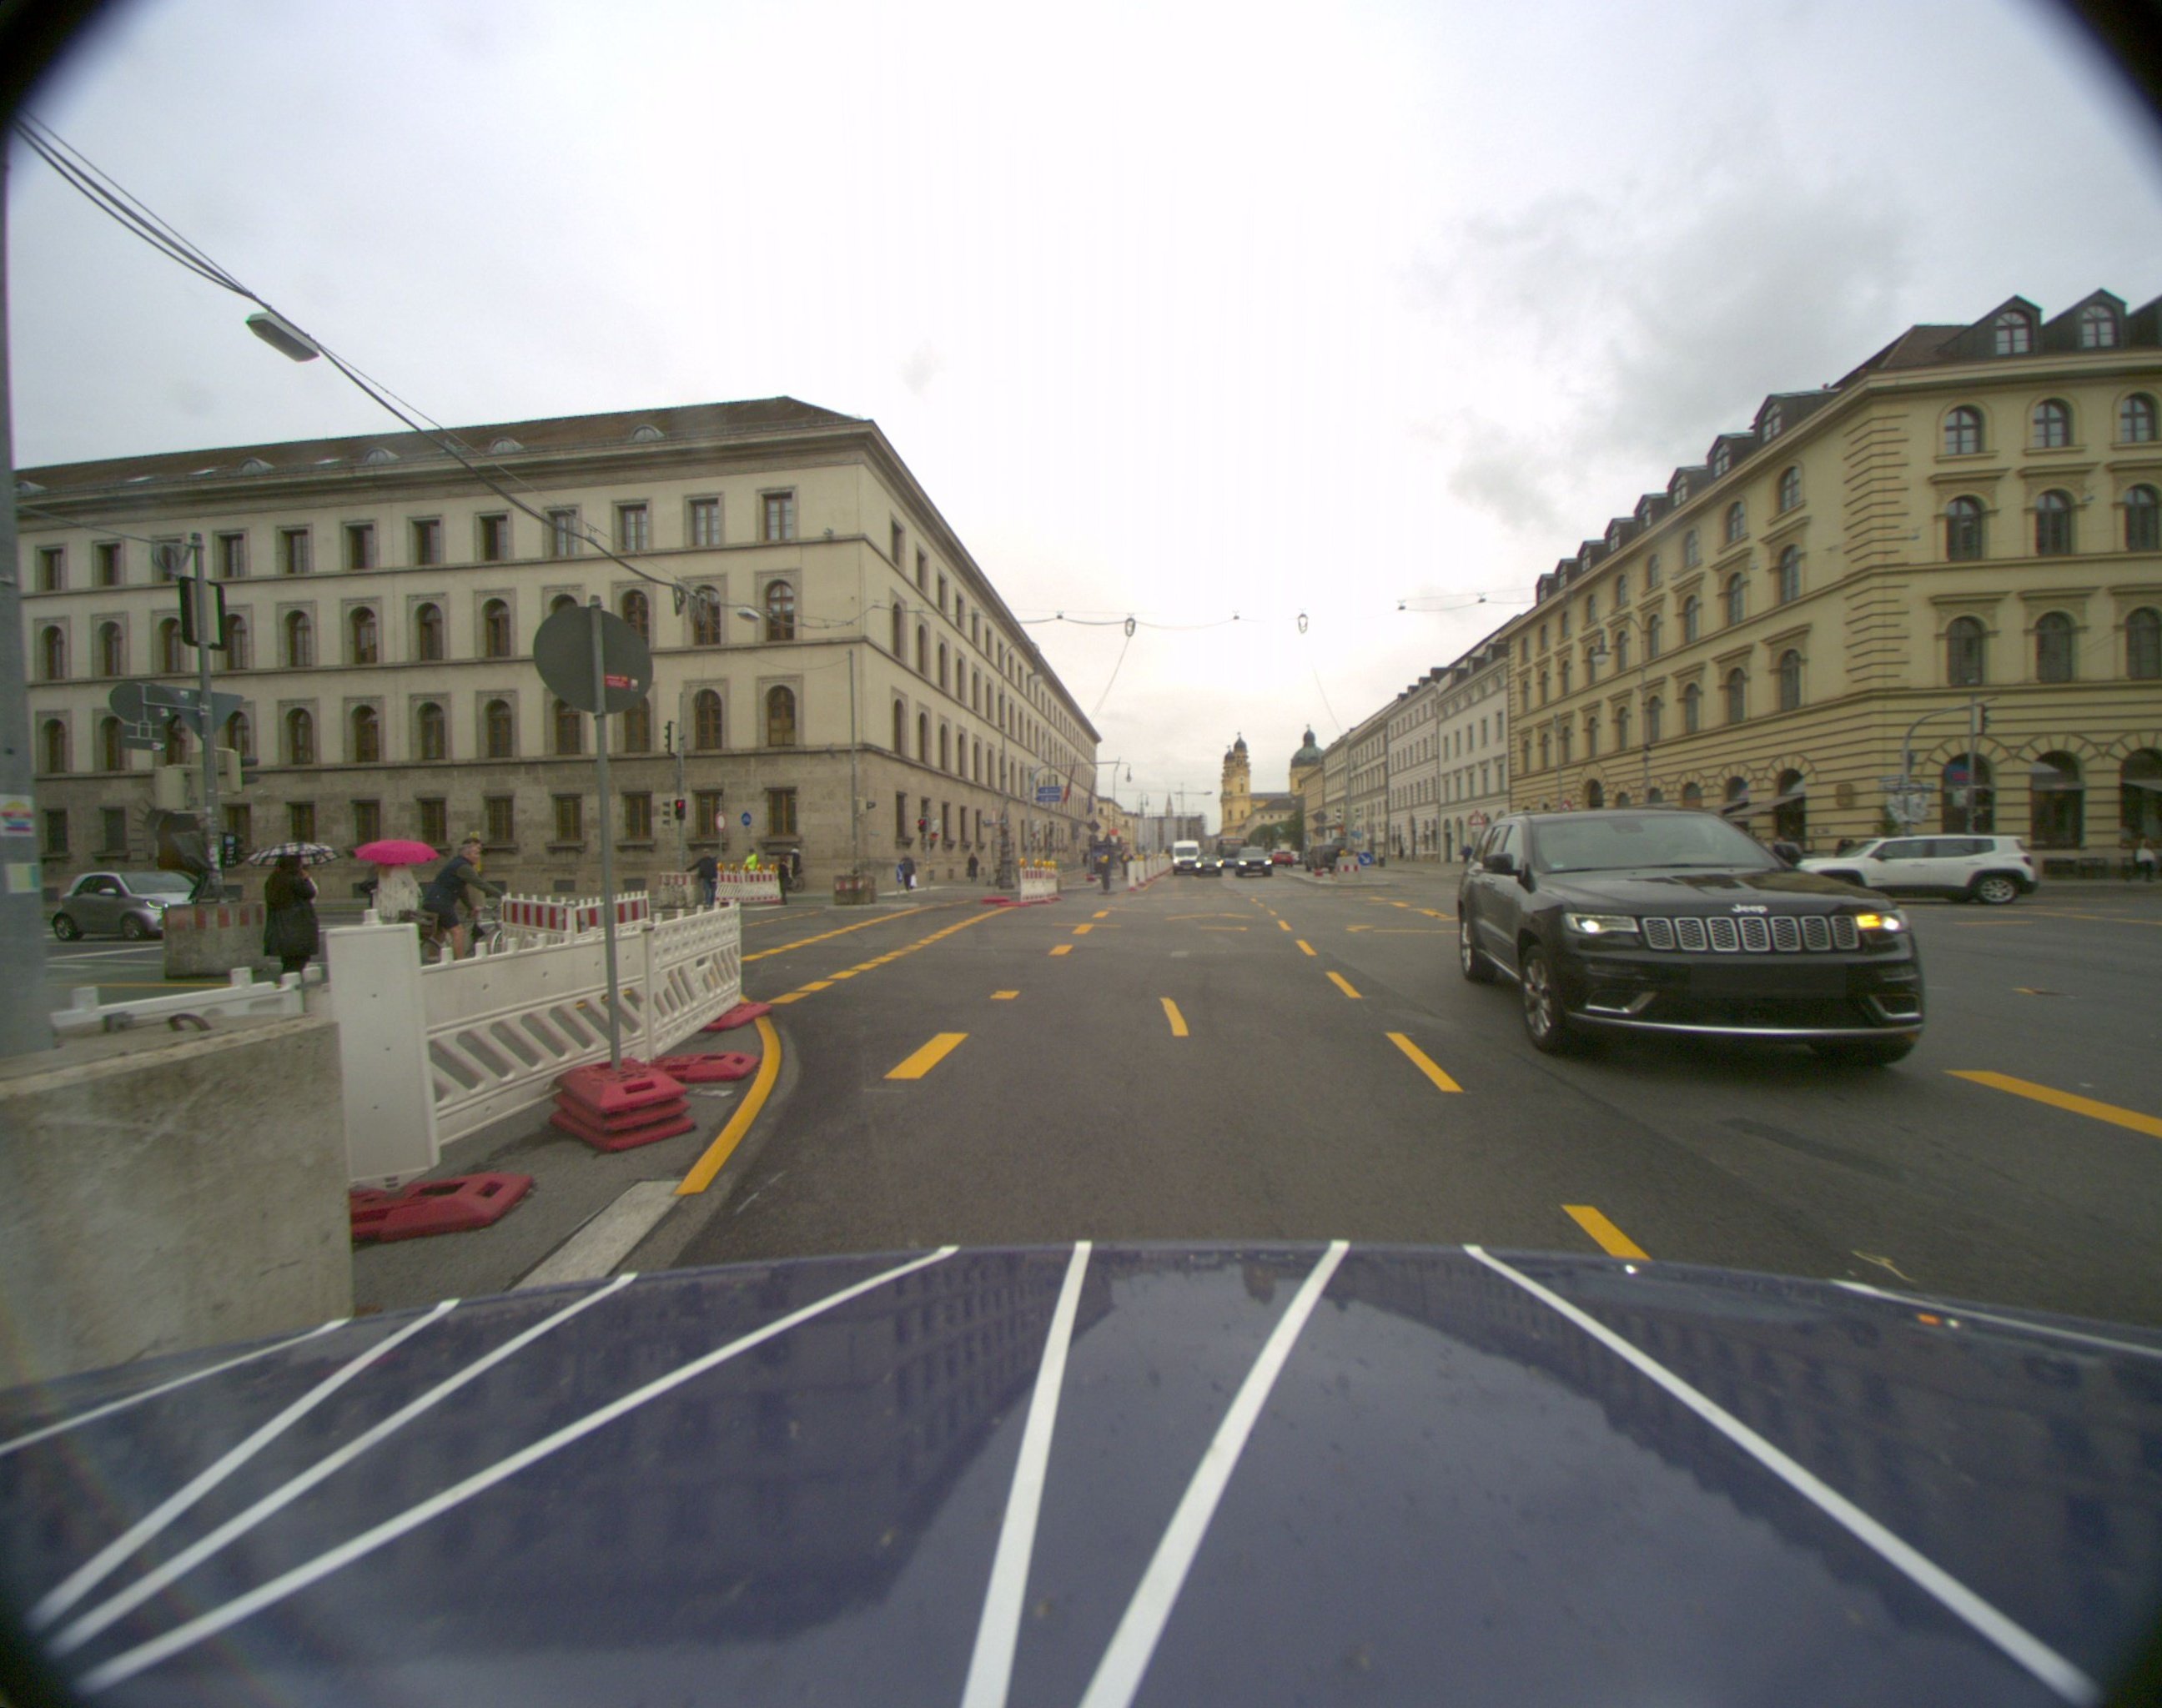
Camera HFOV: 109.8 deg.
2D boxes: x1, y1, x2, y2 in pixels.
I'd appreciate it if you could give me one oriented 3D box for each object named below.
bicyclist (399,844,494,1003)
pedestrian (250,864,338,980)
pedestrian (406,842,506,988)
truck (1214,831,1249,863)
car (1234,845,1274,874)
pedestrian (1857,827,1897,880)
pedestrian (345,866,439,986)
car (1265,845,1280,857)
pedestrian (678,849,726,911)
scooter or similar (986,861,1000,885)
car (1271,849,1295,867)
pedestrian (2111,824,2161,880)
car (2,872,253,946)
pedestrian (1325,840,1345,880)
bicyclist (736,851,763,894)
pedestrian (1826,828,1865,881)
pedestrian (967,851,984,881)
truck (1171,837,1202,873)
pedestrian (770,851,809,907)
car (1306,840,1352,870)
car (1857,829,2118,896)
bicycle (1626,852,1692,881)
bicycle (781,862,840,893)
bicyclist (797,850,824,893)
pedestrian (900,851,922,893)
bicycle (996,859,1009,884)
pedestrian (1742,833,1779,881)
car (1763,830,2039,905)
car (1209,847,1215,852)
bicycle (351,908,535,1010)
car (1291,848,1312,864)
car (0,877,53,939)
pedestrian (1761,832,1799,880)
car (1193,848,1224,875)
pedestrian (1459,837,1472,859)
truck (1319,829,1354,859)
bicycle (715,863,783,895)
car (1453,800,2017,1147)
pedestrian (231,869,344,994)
[{"bbox_3d":[-7.812,0.813,9.373,0.801,1.843,0.566,-3,3,-40],"label":"bicyclist"},{"bbox_3d":[-11.388,0.972,11.011,0.673,1.611,0.533,-1,2,10],"label":"pedestrian"},{"bbox_3d":[-8.368,0.788,10.195,0.640,1.874,0.705,-1,2,12],"label":"pedestrian"},{"bbox_3d":[14.642,-0.743,74.211,2.987,2.996,7.146,-1,1,8],"label":"truck"},{"bbox_3d":[10.471,0.318,46.174,1.997,1.674,4.002,-1,0,8],"label":"car"},{"bbox_3d":[26.827,-0.035,25.618,0.737,1.762,0.737,0,2,29],"label":"pedestrian"},{"bbox_3d":[-9.462,0.964,10.456,0.540,1.558,0.705,-1,2,10],"label":"pedestrian"},{"bbox_3d":[29.445,-0.499,117.076,1.821,1.710,4.002,-1,0,8],"label":"car"},{"bbox_3d":[-10.800,0.738,21.663,1.043,1.733,0.514,-1,1,-2],"label":"pedestrian"},{"bbox_3d":[-4.595,0.966,39.663,0.381,1.138,1.989,-1,2,2],"label":"scooter or similar"},{"bbox_3d":[19.638,0.368,74.014,1.821,1.710,4.002,-1,0,8],"label":"car"},{"bbox_3d":[33.924,-0.084,24.375,0.734,1.762,0.740,-1,2,22],"label":"pedestrian"},{"bbox_3d":[-21.453,1.215,17.169,3.995,1.495,1.635,-1,1,7],"label":"car"},{"bbox_3d":[11.561,0.262,34.591,0.735,1.762,0.739,-1,2,10],"label":"pedestrian"},{"bbox_3d":[-13.927,0.772,31.937,0.688,1.739,0.800,-1,2,-1],"label":"bicyclist"},{"bbox_3d":[26.145,0.008,25.998,0.758,1.762,0.737,0,2,29],"label":"pedestrian"},{"bbox_3d":[-5.781,0.646,41.671,0.738,1.645,0.727,2,2,10],"label":"pedestrian"},{"bbox_3d":[7.853,0.055,57.102,2.114,2.466,5.862,-1,0,7],"label":"truck"},{"bbox_3d":[-9.395,0.791,24.484,0.737,1.762,0.847,-1,2,19],"label":"pedestrian"},{"bbox_3d":[17.406,0.041,53.492,2.242,2.002,4.452,-1,0,7],"label":"car"},{"bbox_3d":[24.325,0.234,20.650,4.221,1.668,1.743,-1,0,30],"label":"car"},{"bbox_3d":[23.126,0.490,30.450,0.600,1.093,2.196,-1,0,-17],"label":"bicycle"},{"bbox_3d":[-11.264,0.986,31.673,2.195,1.236,0.790,-1,2,12],"label":"bicycle"},{"bbox_3d":[-11.259,0.725,31.659,0.687,1.766,0.801,-1,2,11],"label":"bicyclist"},{"bbox_3d":[-6.836,0.725,30.549,0.739,1.645,0.726,1,2,-5],"label":"pedestrian"},{"bbox_3d":[-4.128,0.901,39.907,0.381,1.235,1.989,-1,2,2],"label":"bicycle"},{"bbox_3d":[25.479,0.107,28.499,0.739,1.762,0.736,-1,2,-2],"label":"pedestrian"},{"bbox_3d":[19.701,0.331,18.548,4.222,1.668,1.802,-1,0,27],"label":"car"},{"bbox_3d":[43.650,-1.576,252.546,1.865,1.788,3.755,-1,1,8],"label":"car"},{"bbox_3d":[-7.809,1.244,9.383,1.659,1.006,0.585,-3,2,-40],"label":"bicycle"},{"bbox_3d":[26.100,0.216,90.101,1.821,1.710,4.002,-1,0,8],"label":"car"},{"bbox_3d":[-28.131,1.372,18.387,4.300,1.433,1.924,-1,2,7],"label":"car"},{"bbox_3d":[26.237,0.065,28.537,0.739,1.762,0.736,-1,2,-2],"label":"pedestrian"},{"bbox_3d":[8.287,0.454,49.630,1.799,1.585,4.001,-1,1,7],"label":"car"},{"bbox_3d":[31.068,-0.513,61.380,0.738,1.761,0.736,-1,1,7],"label":"pedestrian"},{"bbox_3d":[23.825,-0.916,71.131,2.219,2.647,4.786,-1,0,8],"label":"truck"},{"bbox_3d":[-13.950,1.040,31.952,2.447,1.236,0.789,-1,2,-2],"label":"bicycle"},{"bbox_3d":[4.466,0.596,6.261,1.997,1.724,4.592,-1,0,20],"label":"car"},{"bbox_3d":[-10.420,0.997,10.000,0.680,1.558,0.705,-1,2,10],"label":"pedestrian"}]
